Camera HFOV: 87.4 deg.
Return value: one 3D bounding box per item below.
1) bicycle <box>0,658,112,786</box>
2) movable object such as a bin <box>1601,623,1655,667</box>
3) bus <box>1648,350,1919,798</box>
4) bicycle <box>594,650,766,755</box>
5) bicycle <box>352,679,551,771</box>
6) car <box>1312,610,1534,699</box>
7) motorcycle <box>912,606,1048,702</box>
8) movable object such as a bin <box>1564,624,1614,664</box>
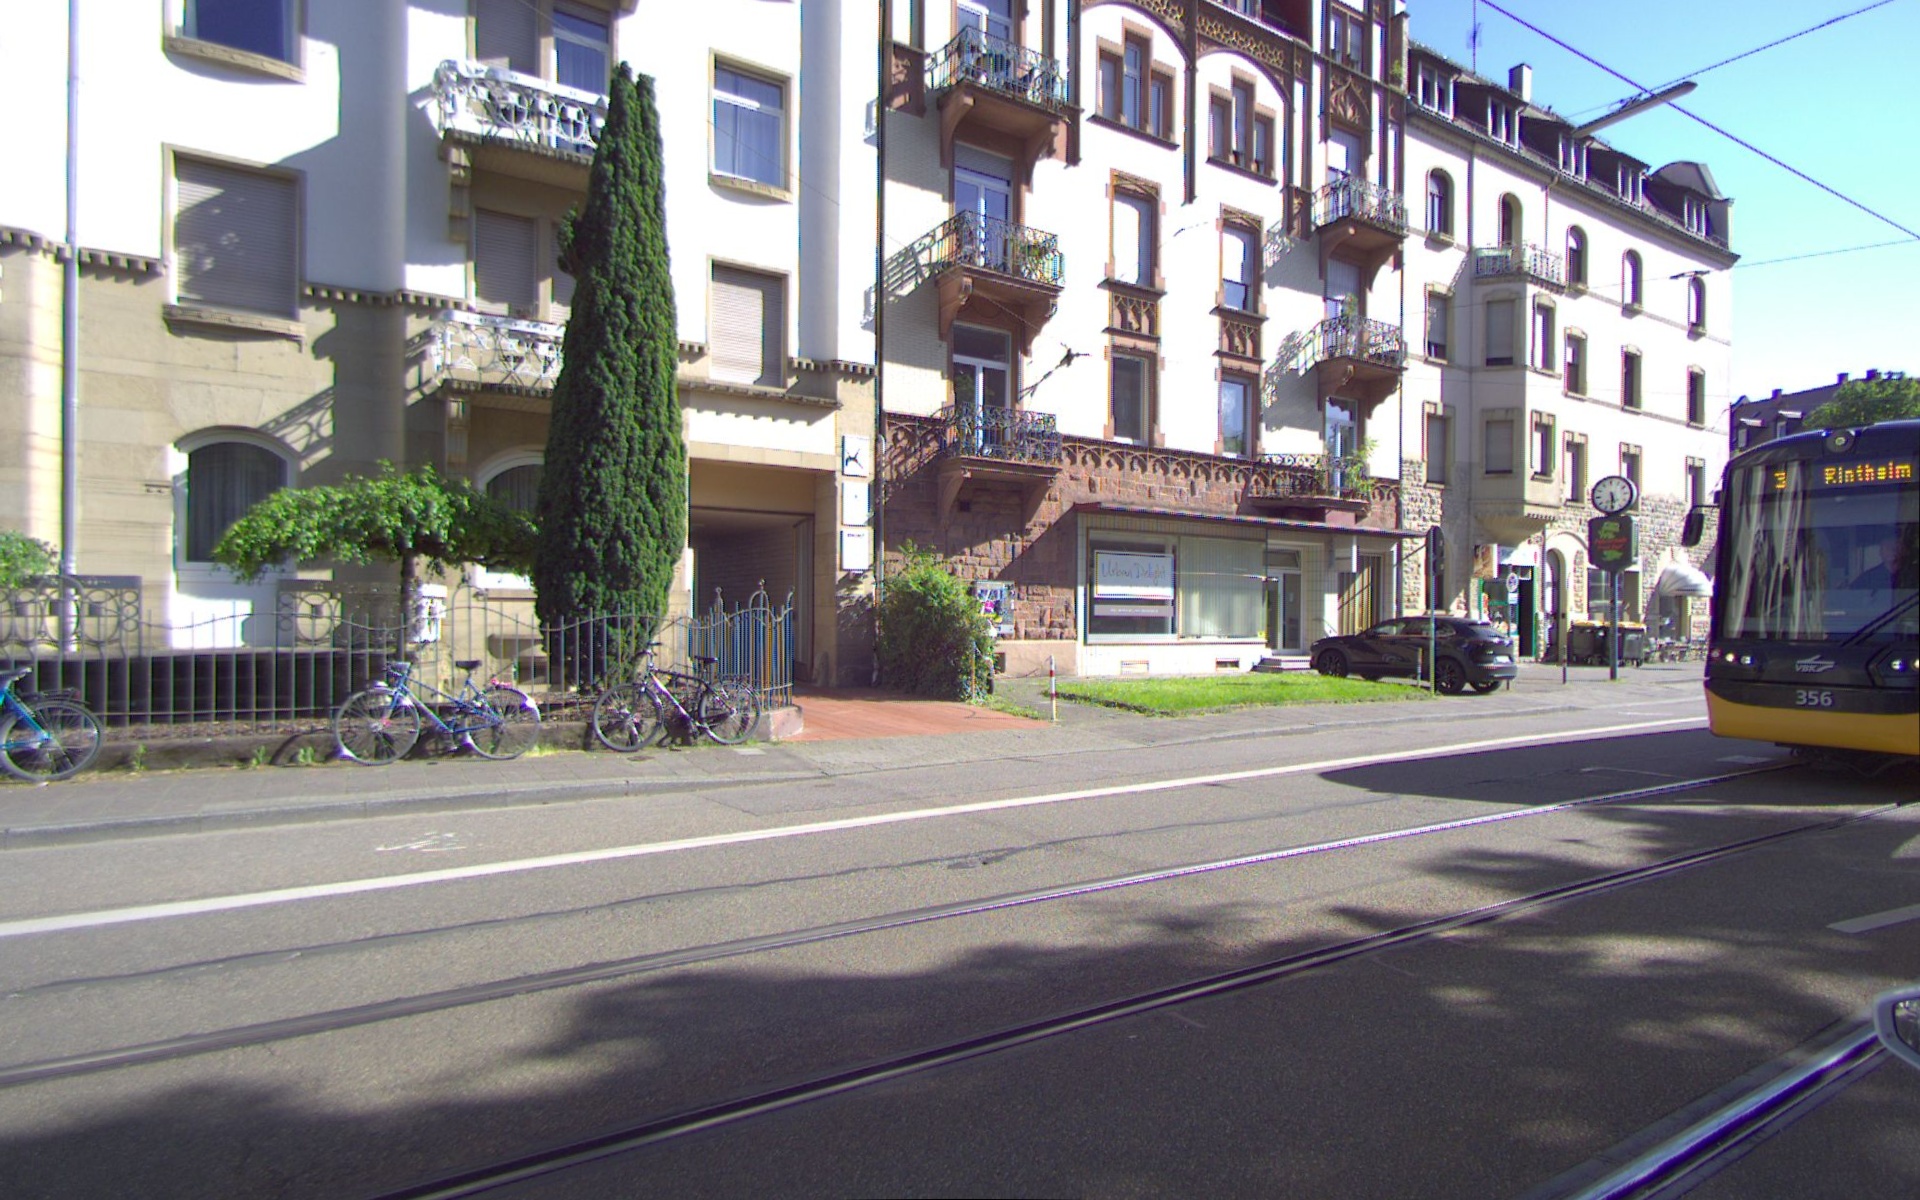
[{"bbox_3d":[-7.705,0.937,7.737,1.728,0.955,0.402,2,0,-31],"label":"bicycle"},{"bbox_3d":[20.809,1.397,31.298,1.128,1.290,0.942,2,0,-26],"label":"movable object such as a bin"},{"bbox_3d":[12.627,-0.076,12.184,11.373,3.827,2.843,2,0,-33],"label":"bus"},{"bbox_3d":[-3.003,1.078,10.843,1.728,1.053,0.402,2,0,-31],"label":"bicycle"},{"bbox_3d":[-4.759,1.149,9.458,1.633,0.772,0.316,2,0,-31],"label":"bicycle"},{"bbox_3d":[9.862,1.097,21.651,1.755,1.523,3.958,2,1,-36],"label":"car"},{"bbox_3d":[0.276,0.883,17.625,0.814,1.476,3.067,2,0,-32],"label":"motorcycle"},{"bbox_3d":[19.972,1.391,31.889,1.228,1.239,0.829,2,0,-28],"label":"movable object such as a bin"}]
